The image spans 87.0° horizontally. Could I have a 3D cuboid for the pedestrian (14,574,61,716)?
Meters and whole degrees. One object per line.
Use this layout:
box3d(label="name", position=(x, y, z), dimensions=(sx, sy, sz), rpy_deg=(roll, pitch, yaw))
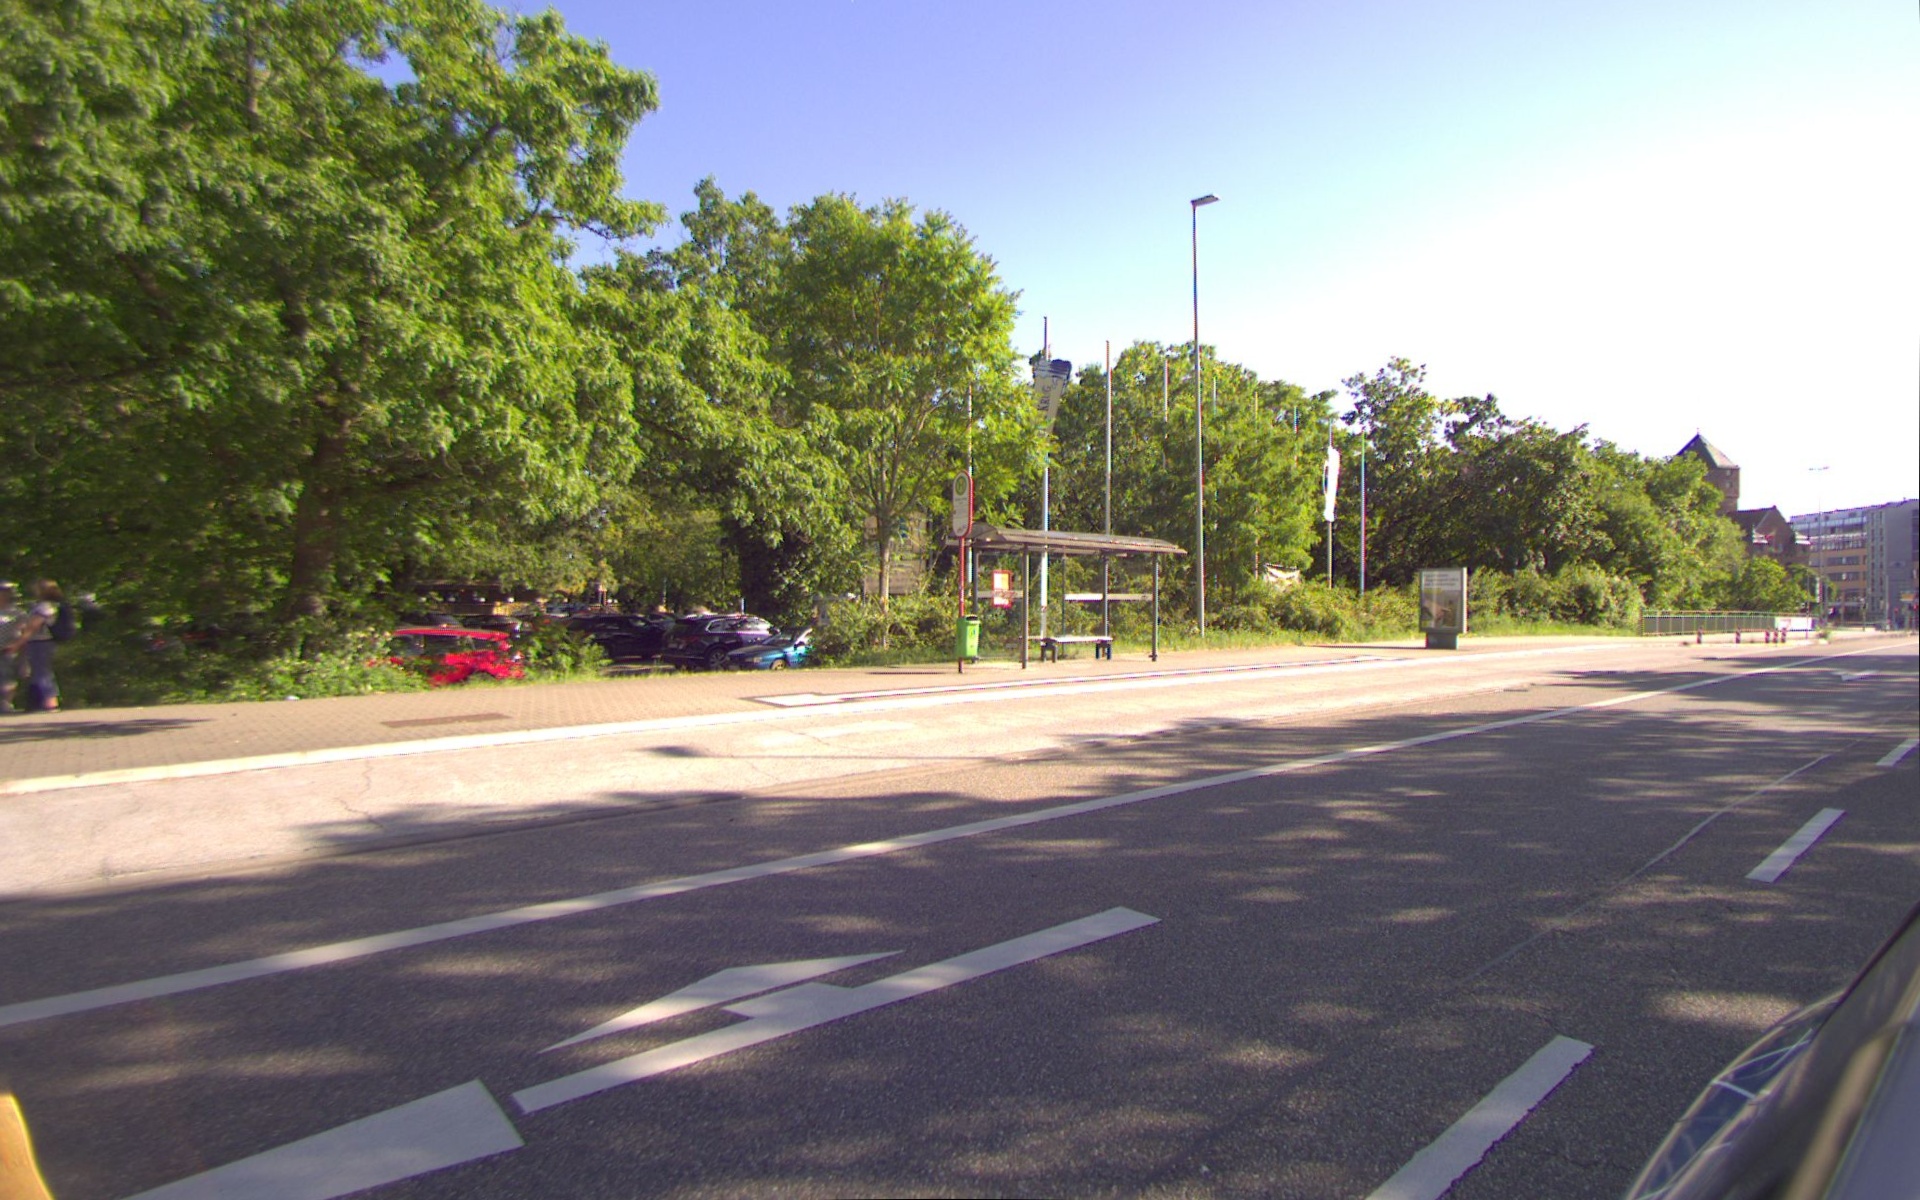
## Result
box3d(label="pedestrian", position=(-11.498, 0.548, 12.619), dimensions=(0.403, 1.722, 0.603), rpy_deg=(1, -1, -42))

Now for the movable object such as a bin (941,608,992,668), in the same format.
box3d(label="movable object such as a bin", position=(0.106, 0.663, 17.984), dimensions=(0.568, 1.043, 0.727), rpy_deg=(1, -1, -42))

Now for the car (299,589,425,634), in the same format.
box3d(label="car", position=(-23.541, 0.441, 39.887), dimensions=(3.936, 1.622, 1.994), rpy_deg=(1, 0, 10))

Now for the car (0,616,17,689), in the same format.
box3d(label="car", position=(-23.404, 1.218, 22.105), dimensions=(3.928, 1.628, 1.998), rpy_deg=(-1, -1, -38))

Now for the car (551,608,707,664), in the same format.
box3d(label="car", position=(-11.127, 1.245, 34.244), dimensions=(4.691, 1.773, 1.755), rpy_deg=(3, -4, -39))

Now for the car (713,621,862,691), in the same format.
box3d(label="car", position=(-4.582, 1.431, 27.044), dimensions=(3.549, 1.658, 1.765), rpy_deg=(0, 0, -40))

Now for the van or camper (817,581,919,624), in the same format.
box3d(label="van or camper", position=(-4.923, 0.140, 54.690), dimensions=(2.449, 2.186, 5.245), rpy_deg=(0, 0, 42))

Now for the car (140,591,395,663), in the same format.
box3d(label="car", position=(-16.393, 0.703, 24.118), dimensions=(4.800, 1.558, 1.997), rpy_deg=(3, -4, -39))

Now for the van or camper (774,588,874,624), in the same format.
box3d(label="van or camper", position=(-7.637, 0.339, 57.281), dimensions=(2.451, 1.937, 5.243), rpy_deg=(0, 0, 44))

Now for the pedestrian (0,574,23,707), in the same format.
box3d(label="pedestrian", position=(-12.212, 0.503, 12.757), dimensions=(0.542, 1.655, 0.623), rpy_deg=(1, -1, -41))

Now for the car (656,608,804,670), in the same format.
box3d(label="car", position=(-6.683, 1.092, 29.623), dimensions=(3.929, 1.685, 1.608), rpy_deg=(0, -1, -40))

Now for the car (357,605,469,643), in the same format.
box3d(label="car", position=(-23.092, 0.994, 42.784), dimensions=(3.936, 1.467, 1.780), rpy_deg=(1, 0, 10))

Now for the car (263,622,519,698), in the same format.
box3d(label="car", position=(-10.222, 1.017, 18.367), dimensions=(3.846, 1.169, 1.398), rpy_deg=(0, 0, -43))
